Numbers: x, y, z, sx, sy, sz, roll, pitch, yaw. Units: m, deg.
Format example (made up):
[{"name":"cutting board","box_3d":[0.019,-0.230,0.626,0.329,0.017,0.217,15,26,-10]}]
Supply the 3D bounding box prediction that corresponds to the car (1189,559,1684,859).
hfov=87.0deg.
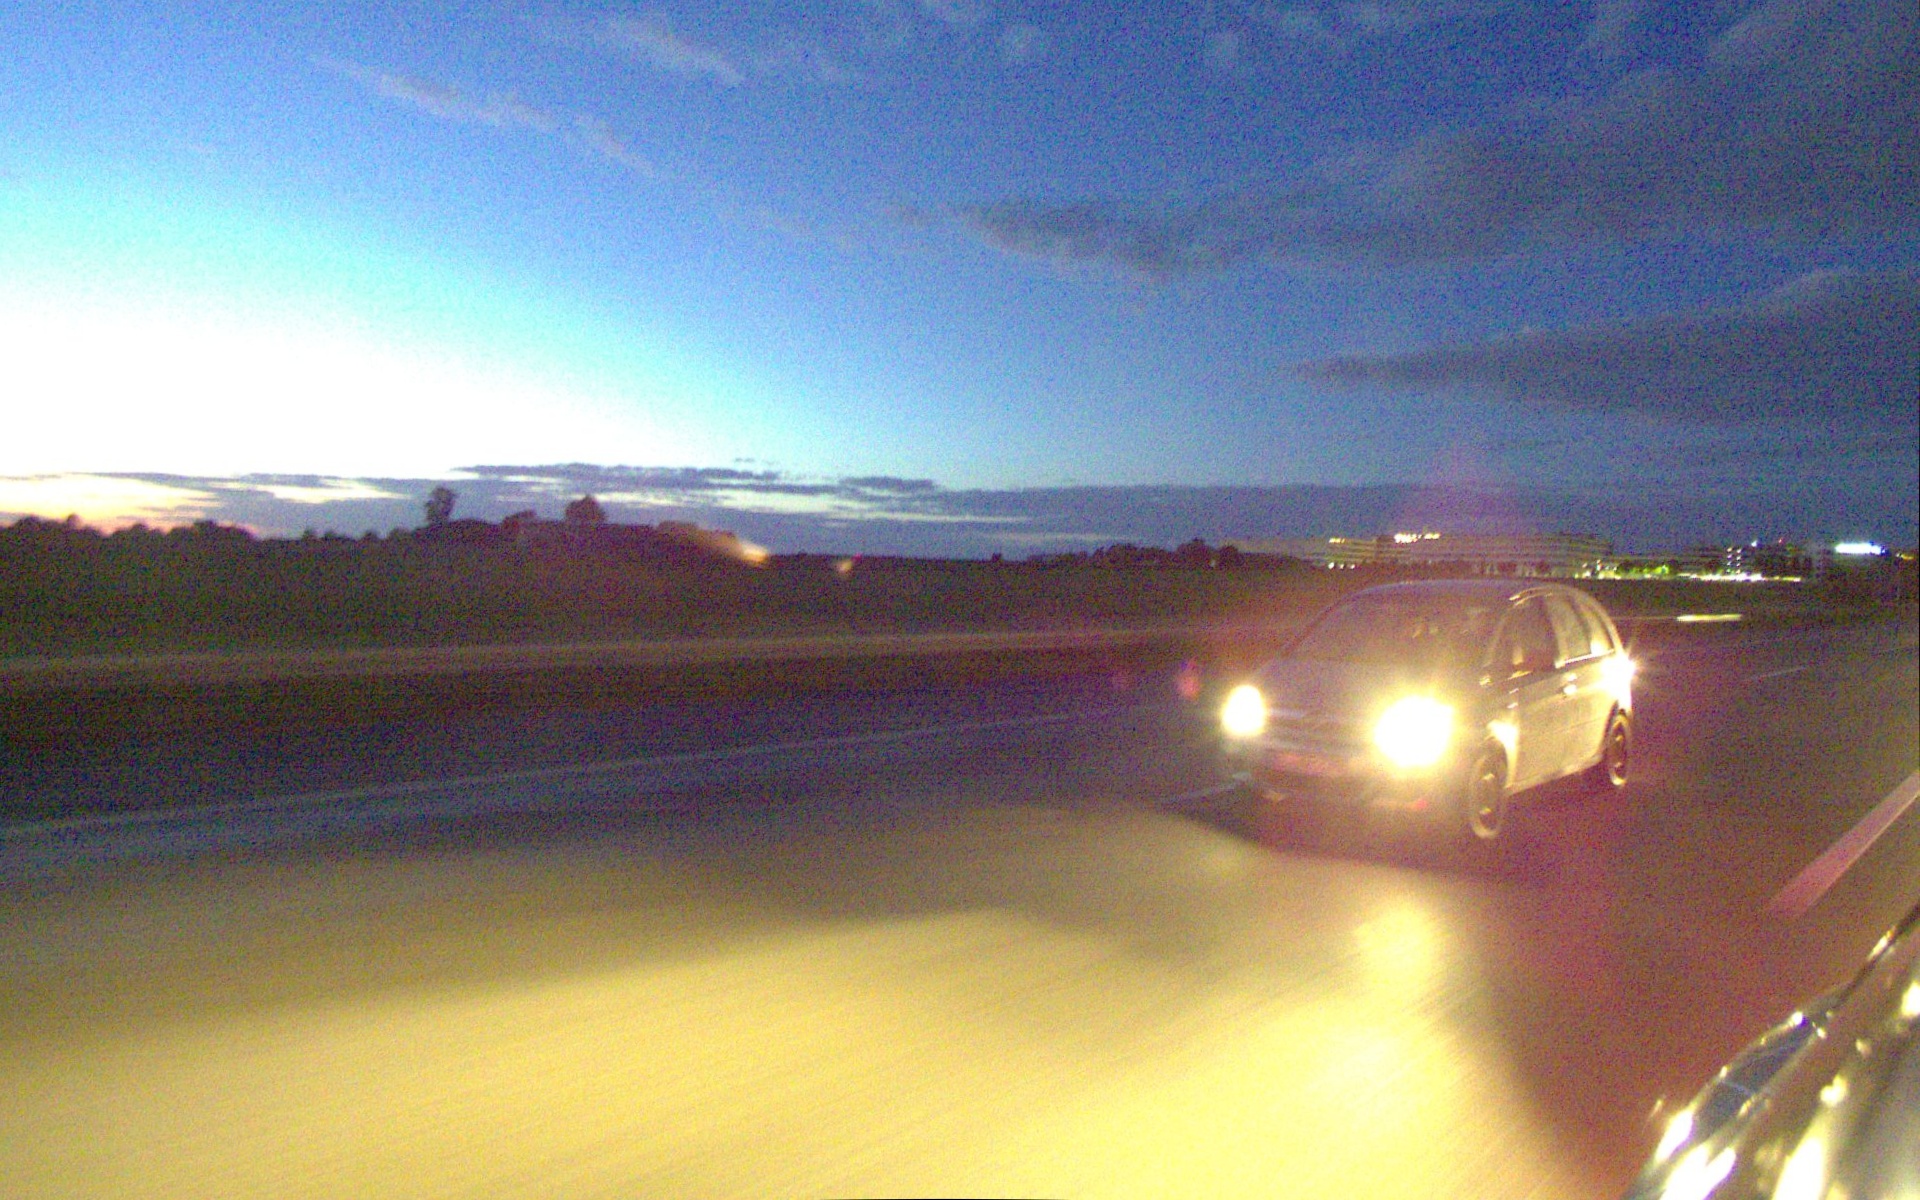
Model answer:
[{"name":"car","box_3d":[3.742,0.569,7.531,4.430,1.616,1.649,0,1,-41]}]
